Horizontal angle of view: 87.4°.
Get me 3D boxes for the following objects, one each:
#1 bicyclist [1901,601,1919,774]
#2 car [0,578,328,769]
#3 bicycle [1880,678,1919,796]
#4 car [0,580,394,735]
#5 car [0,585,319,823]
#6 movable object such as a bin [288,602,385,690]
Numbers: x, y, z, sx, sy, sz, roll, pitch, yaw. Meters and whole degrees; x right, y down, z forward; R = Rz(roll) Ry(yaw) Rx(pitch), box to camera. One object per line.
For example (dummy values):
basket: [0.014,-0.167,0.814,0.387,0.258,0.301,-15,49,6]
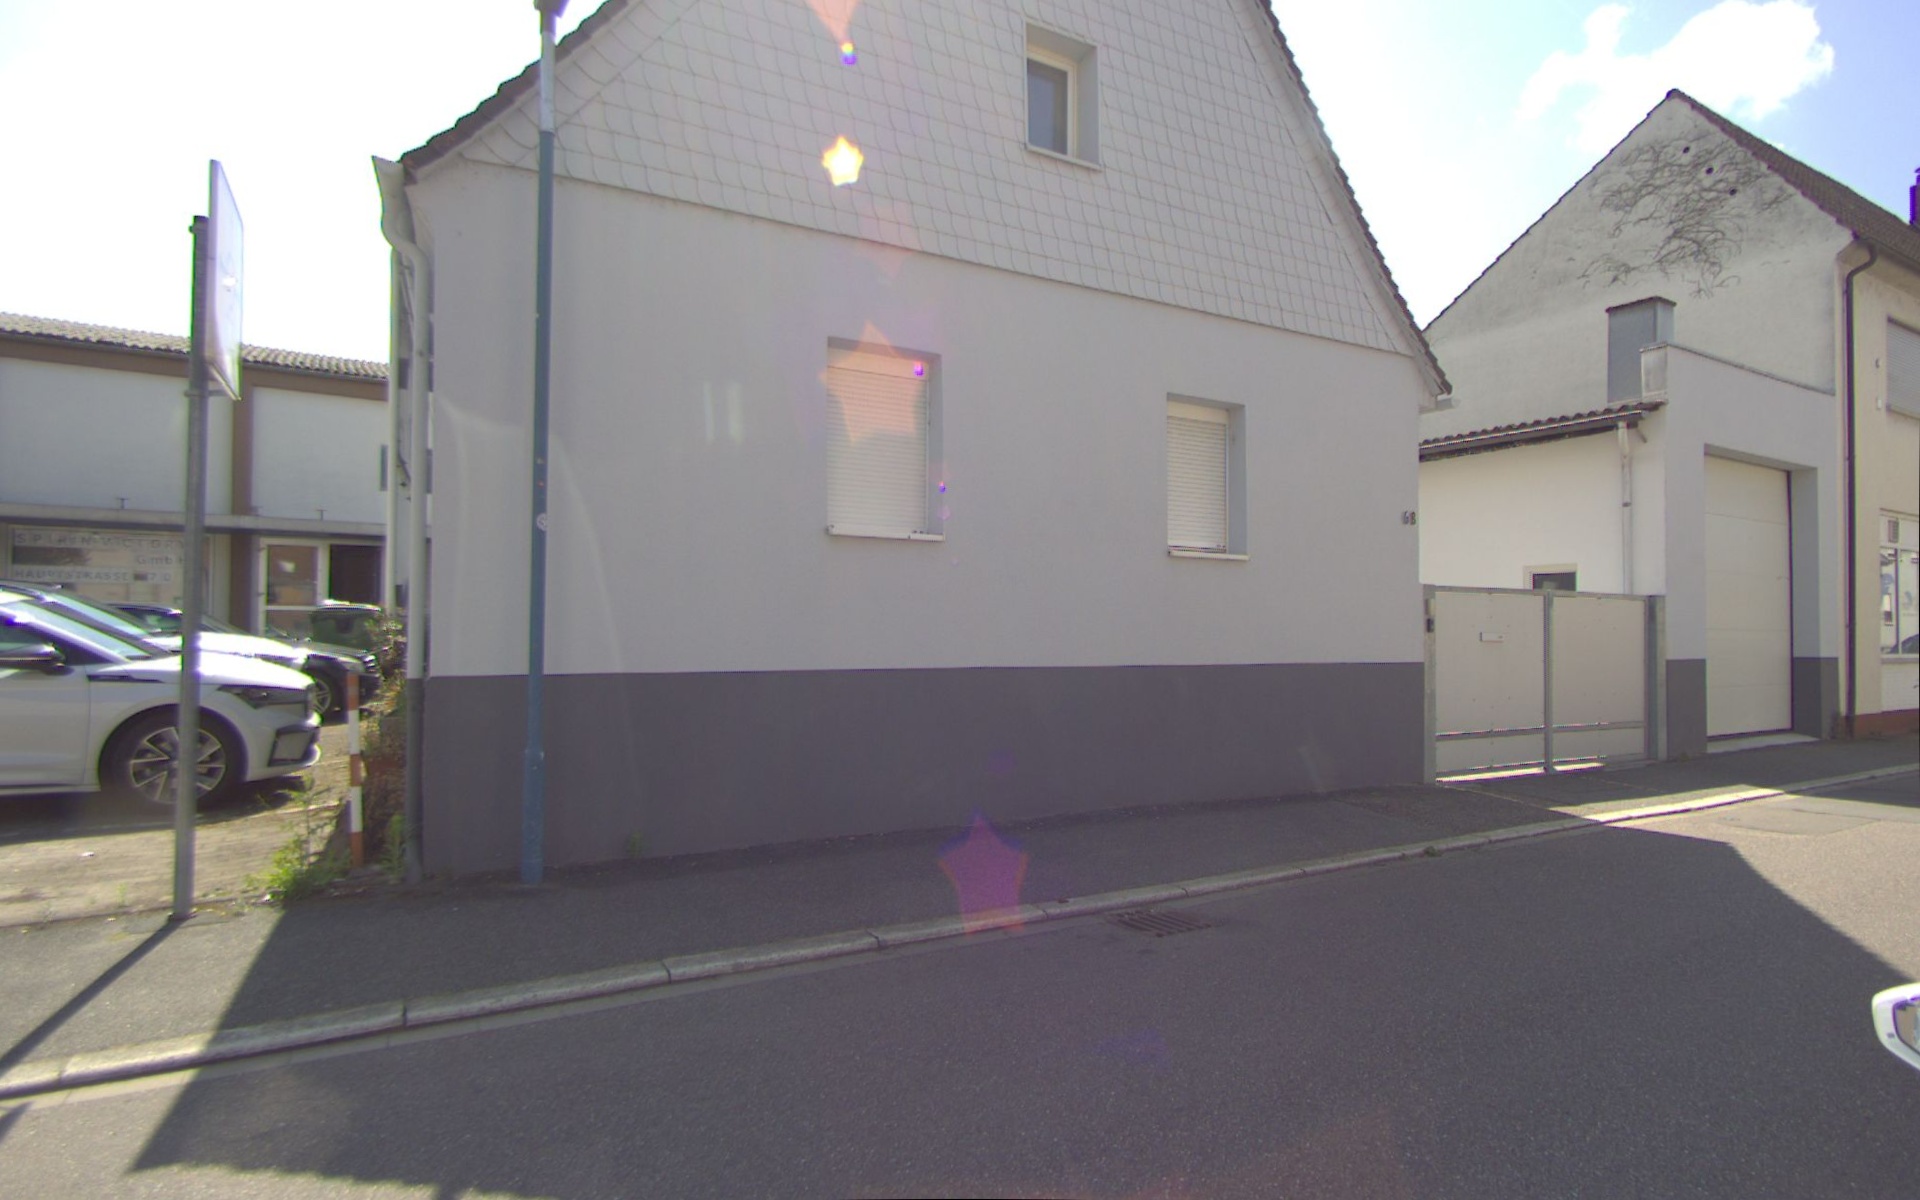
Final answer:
bicyclist: [9.740,0.846,9.654,0.944,1.658,0.744,1,-1,-27]
car: [-8.623,0.639,9.470,4.428,1.641,1.765,2,-1,-31]
bicycle: [9.750,1.302,9.653,1.915,1.061,0.740,1,-1,-27]
car: [-9.208,0.626,11.786,4.428,1.591,1.765,2,-1,-31]
car: [-7.273,0.690,7.210,4.430,1.591,1.764,2,-1,-32]
movable object such as a bin: [-9.890,0.709,16.002,1.196,1.318,1.382,1,-1,-28]
